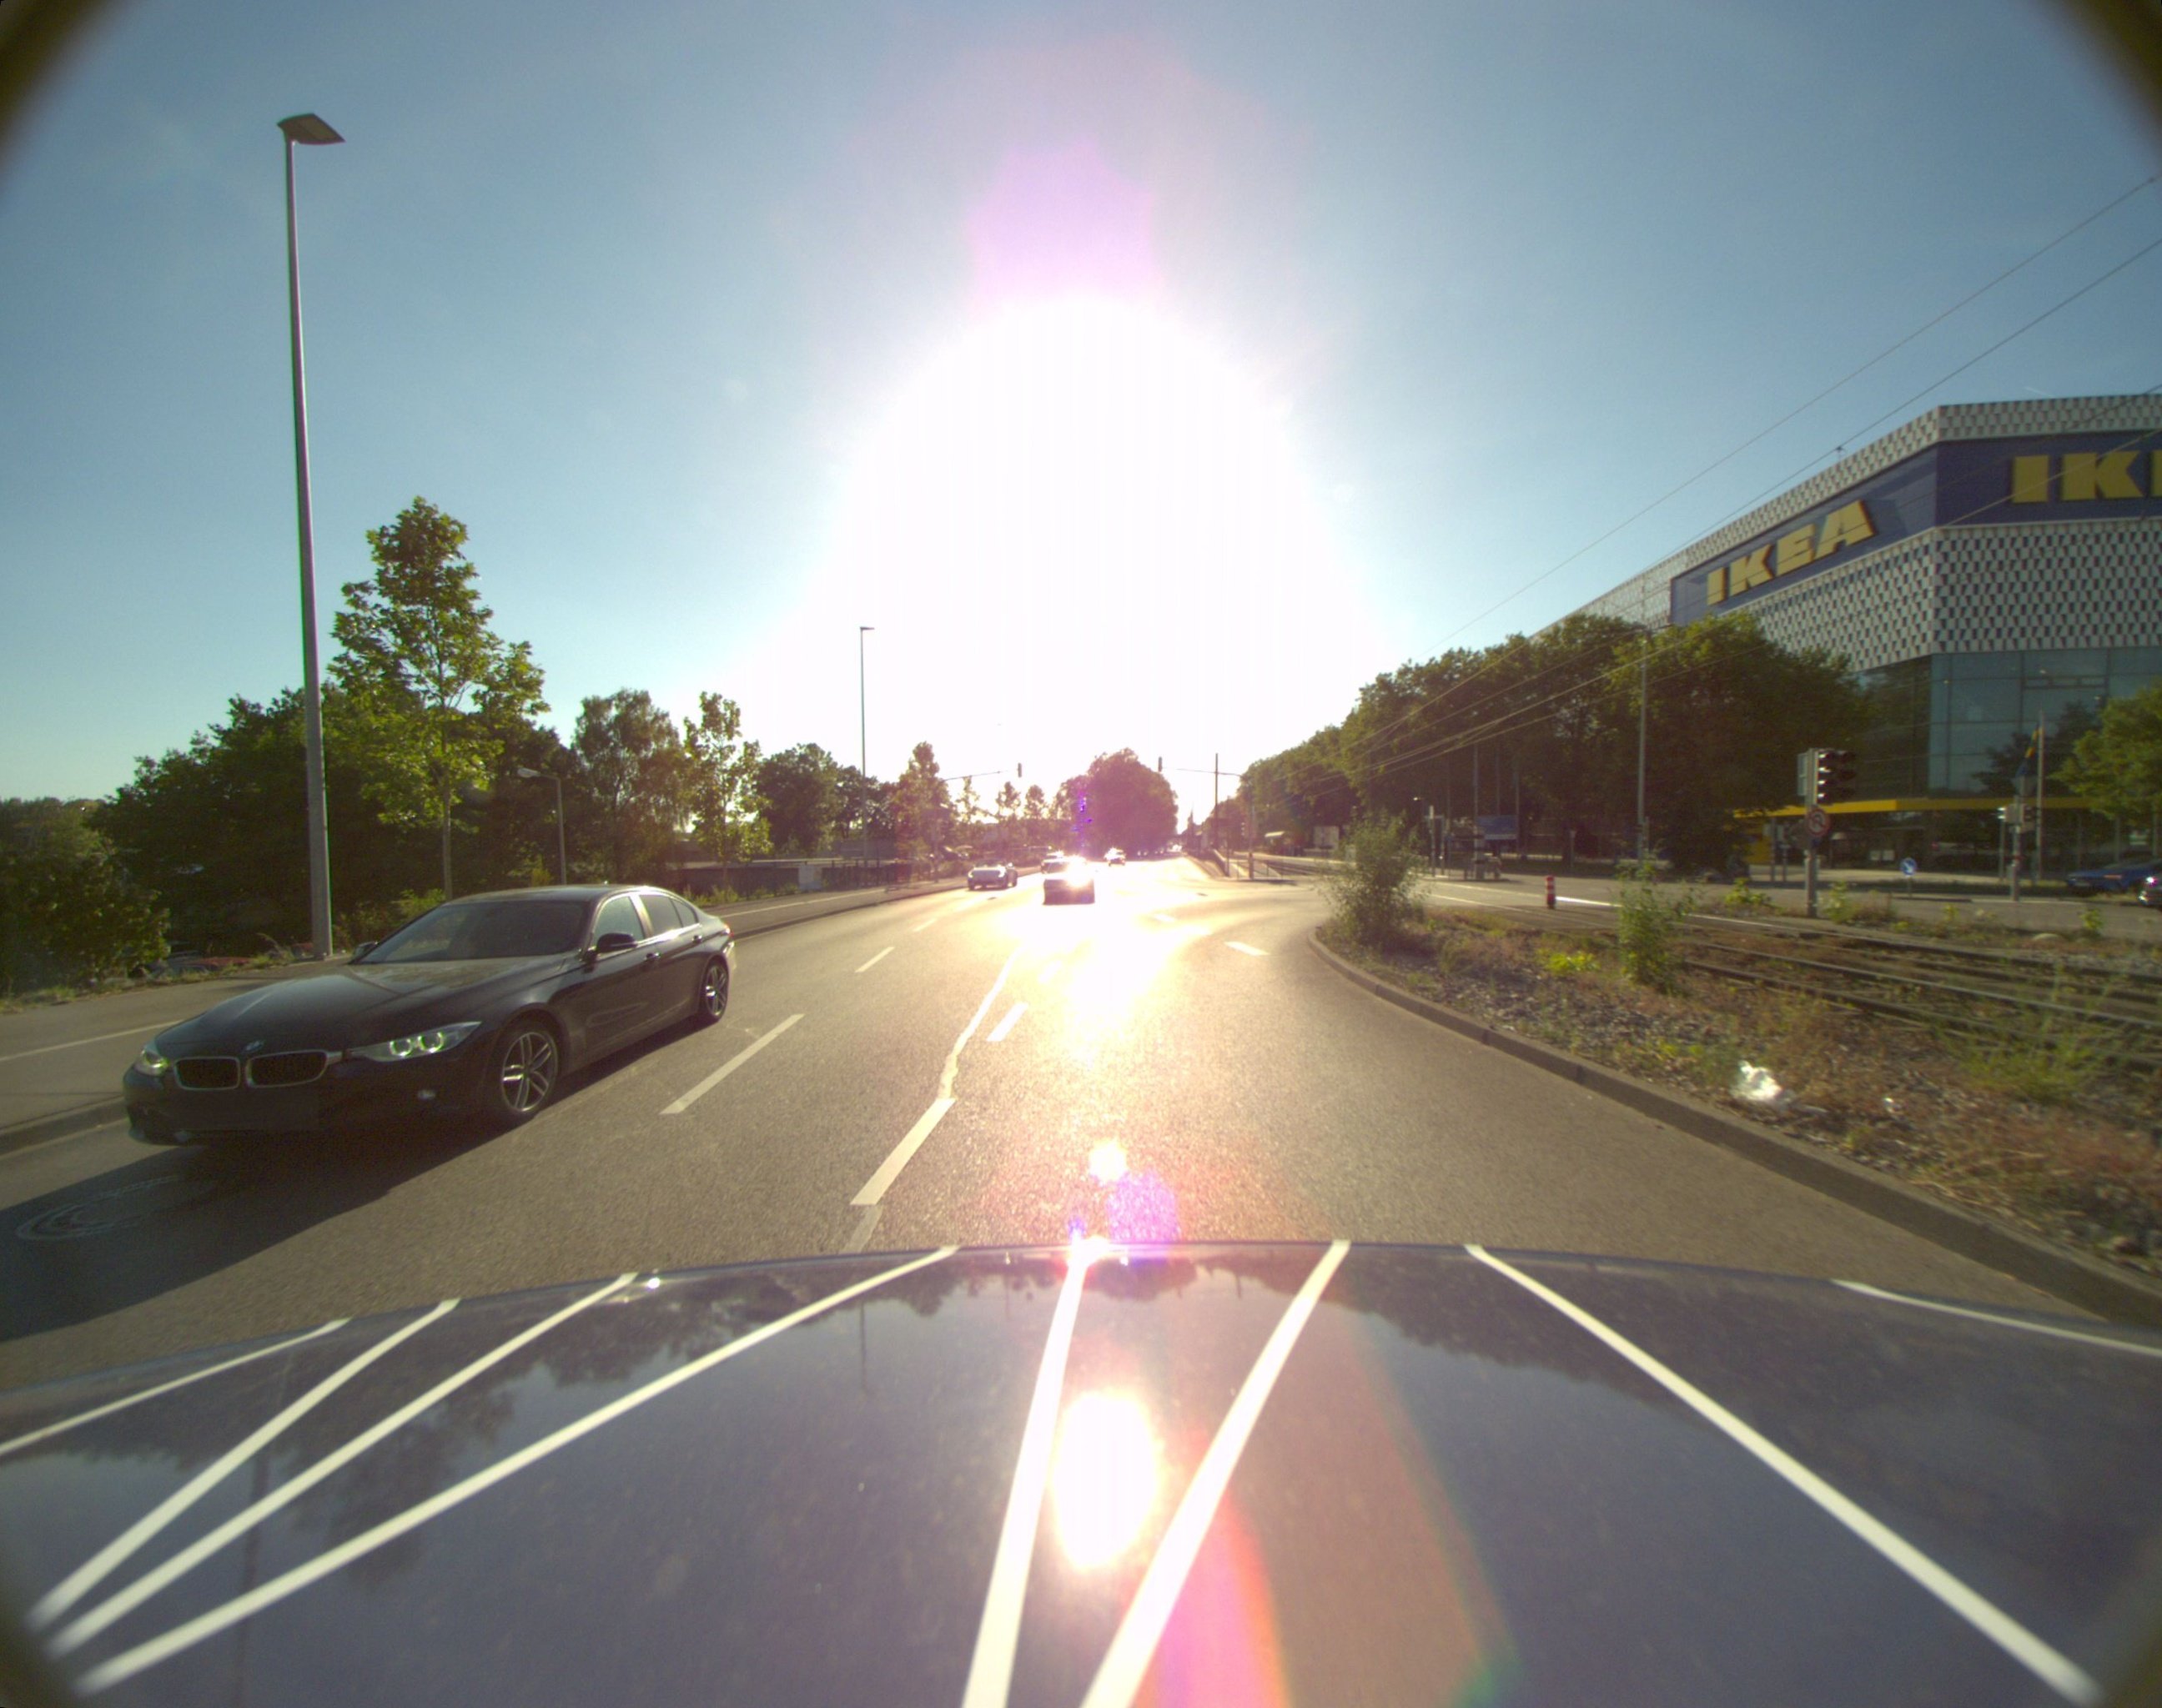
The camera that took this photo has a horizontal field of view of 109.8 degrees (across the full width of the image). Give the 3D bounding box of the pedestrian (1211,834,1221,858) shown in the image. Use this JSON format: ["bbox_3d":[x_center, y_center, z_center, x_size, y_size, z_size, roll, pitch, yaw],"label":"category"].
[{"bbox_3d":[10.476,-0.614,58.890,0.708,1.765,0.536,-3,2,11],"label":"pedestrian"}]

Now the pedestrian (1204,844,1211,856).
[{"bbox_3d":[13.359,-0.400,80.261,0.681,1.224,0.879,-3,1,7],"label":"pedestrian"}]

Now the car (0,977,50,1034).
[{"bbox_3d":[-32.253,4.425,21.693,3.701,1.440,1.581,-3,1,6],"label":"car"}]

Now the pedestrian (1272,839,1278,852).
[{"bbox_3d":[25.924,-1.152,101.513,0.661,1.623,0.777,-2,1,8],"label":"pedestrian"}]

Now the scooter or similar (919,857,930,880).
[{"bbox_3d":[-8.997,0.825,43.717,0.525,1.224,1.265,-1,2,-6],"label":"scooter or similar"}]

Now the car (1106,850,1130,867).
[{"bbox_3d":[3.553,0.392,72.505,1.870,1.422,3.833,-3,0,8],"label":"car"}]

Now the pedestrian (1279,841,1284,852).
[{"bbox_3d":[27.276,-0.982,103.344,0.615,1.460,0.544,-1,1,-1],"label":"pedestrian"}]

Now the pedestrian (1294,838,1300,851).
[{"bbox_3d":[26.498,-1.137,93.159,0.652,1.611,0.635,-2,1,11],"label":"pedestrian"}]

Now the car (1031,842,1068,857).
[{"bbox_3d":[-4.816,-0.711,115.618,5.348,2.010,2.104,-3,1,5],"label":"car"}]

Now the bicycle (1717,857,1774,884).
[{"bbox_3d":[34.890,0.846,39.926,2.277,1.211,0.714,-4,3,3],"label":"bicycle"}]

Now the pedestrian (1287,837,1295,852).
[{"bbox_3d":[26.748,-1.238,96.860,0.733,1.810,0.687,-3,1,-3],"label":"pedestrian"}]

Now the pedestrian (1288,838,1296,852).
[{"bbox_3d":[26.678,-1.174,96.009,0.733,1.682,0.687,-3,1,-3],"label":"pedestrian"}]

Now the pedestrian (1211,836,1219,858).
[{"bbox_3d":[10.250,-0.530,58.196,0.534,1.683,0.760,-3,2,9],"label":"pedestrian"}]

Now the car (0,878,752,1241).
[{"bbox_3d":[-4.400,1.057,5.971,1.871,1.459,4.583,-2,1,-4],"label":"car"}]

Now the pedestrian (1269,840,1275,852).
[{"bbox_3d":[27.484,-1.215,109.413,0.763,1.700,0.678,-3,1,8],"label":"pedestrian"}]

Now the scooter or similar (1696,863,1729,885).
[{"bbox_3d":[33.216,1.058,39.970,1.066,1.009,0.789,-4,3,3],"label":"scooter or similar"}]

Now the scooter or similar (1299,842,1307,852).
[{"bbox_3d":[26.058,-0.843,89.186,0.665,1.228,1.373,-1,1,6],"label":"scooter or similar"}]

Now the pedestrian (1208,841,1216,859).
[{"bbox_3d":[13.087,-0.400,75.961,0.695,1.706,0.822,-2,1,2],"label":"pedestrian"}]

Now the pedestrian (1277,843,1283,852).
[{"bbox_3d":[28.048,-0.911,106.947,0.679,1.156,0.624,-1,1,5],"label":"pedestrian"}]

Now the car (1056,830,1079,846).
[{"bbox_3d":[-2.335,-2.808,133.893,2.938,2.607,5.926,-1,1,11],"label":"car"}]

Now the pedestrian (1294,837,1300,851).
[{"bbox_3d":[26.555,-1.213,93.529,0.652,1.709,0.635,-2,1,11],"label":"pedestrian"}]

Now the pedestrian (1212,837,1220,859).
[{"bbox_3d":[10.170,-0.476,57.256,0.534,1.647,0.751,-3,2,9],"label":"pedestrian"}]

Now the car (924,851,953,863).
[{"bbox_3d":[-21.570,0.382,115.109,4.029,1.577,1.685,-3,1,4],"label":"car"}]

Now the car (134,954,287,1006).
[{"bbox_3d":[-31.201,4.504,27.289,3.701,1.442,1.667,-3,2,6],"label":"car"}]

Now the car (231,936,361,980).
[{"bbox_3d":[-32.220,4.260,31.223,3.700,1.440,1.752,-3,1,7],"label":"car"}]

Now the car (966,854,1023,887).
[{"bbox_3d":[-4.125,0.748,36.707,1.856,1.415,3.981,-2,1,6],"label":"car"}]

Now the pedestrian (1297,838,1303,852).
[{"bbox_3d":[26.484,-1.089,91.757,0.603,1.611,0.691,-2,1,11],"label":"pedestrian"}]

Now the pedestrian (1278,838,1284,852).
[{"bbox_3d":[25.935,-1.180,98.357,0.654,1.732,0.686,-3,1,10],"label":"pedestrian"}]

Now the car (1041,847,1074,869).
[{"bbox_3d":[-1.736,0.298,57.680,1.739,1.502,4.002,-2,1,9],"label":"car"}]

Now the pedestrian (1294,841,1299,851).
[{"bbox_3d":[26.774,-0.979,94.412,0.603,1.217,0.617,-2,1,11],"label":"pedestrian"}]

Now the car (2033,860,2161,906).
[{"bbox_3d":[37.988,1.058,27.471,4.253,1.489,2.016,2,2,4],"label":"car"}]

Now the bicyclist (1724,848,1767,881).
[{"bbox_3d":[34.898,0.544,39.922,1.485,1.608,0.822,-4,3,3],"label":"bicyclist"}]

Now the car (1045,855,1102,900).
[{"bbox_3d":[-0.217,0.812,28.257,1.602,1.440,3.801,-2,1,7],"label":"car"}]

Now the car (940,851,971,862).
[{"bbox_3d":[-20.619,0.378,125.405,4.659,1.560,1.859,-3,1,4],"label":"car"}]

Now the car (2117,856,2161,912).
[{"bbox_3d":[30.079,0.838,19.426,4.085,1.450,1.922,1,2,7],"label":"car"}]

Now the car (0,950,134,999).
[{"bbox_3d":[-40.401,4.756,30.089,3.917,1.561,1.693,-3,1,6],"label":"car"}]

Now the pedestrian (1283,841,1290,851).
[{"bbox_3d":[26.958,-1.020,99.607,0.654,1.245,0.685,-3,1,4],"label":"pedestrian"}]
